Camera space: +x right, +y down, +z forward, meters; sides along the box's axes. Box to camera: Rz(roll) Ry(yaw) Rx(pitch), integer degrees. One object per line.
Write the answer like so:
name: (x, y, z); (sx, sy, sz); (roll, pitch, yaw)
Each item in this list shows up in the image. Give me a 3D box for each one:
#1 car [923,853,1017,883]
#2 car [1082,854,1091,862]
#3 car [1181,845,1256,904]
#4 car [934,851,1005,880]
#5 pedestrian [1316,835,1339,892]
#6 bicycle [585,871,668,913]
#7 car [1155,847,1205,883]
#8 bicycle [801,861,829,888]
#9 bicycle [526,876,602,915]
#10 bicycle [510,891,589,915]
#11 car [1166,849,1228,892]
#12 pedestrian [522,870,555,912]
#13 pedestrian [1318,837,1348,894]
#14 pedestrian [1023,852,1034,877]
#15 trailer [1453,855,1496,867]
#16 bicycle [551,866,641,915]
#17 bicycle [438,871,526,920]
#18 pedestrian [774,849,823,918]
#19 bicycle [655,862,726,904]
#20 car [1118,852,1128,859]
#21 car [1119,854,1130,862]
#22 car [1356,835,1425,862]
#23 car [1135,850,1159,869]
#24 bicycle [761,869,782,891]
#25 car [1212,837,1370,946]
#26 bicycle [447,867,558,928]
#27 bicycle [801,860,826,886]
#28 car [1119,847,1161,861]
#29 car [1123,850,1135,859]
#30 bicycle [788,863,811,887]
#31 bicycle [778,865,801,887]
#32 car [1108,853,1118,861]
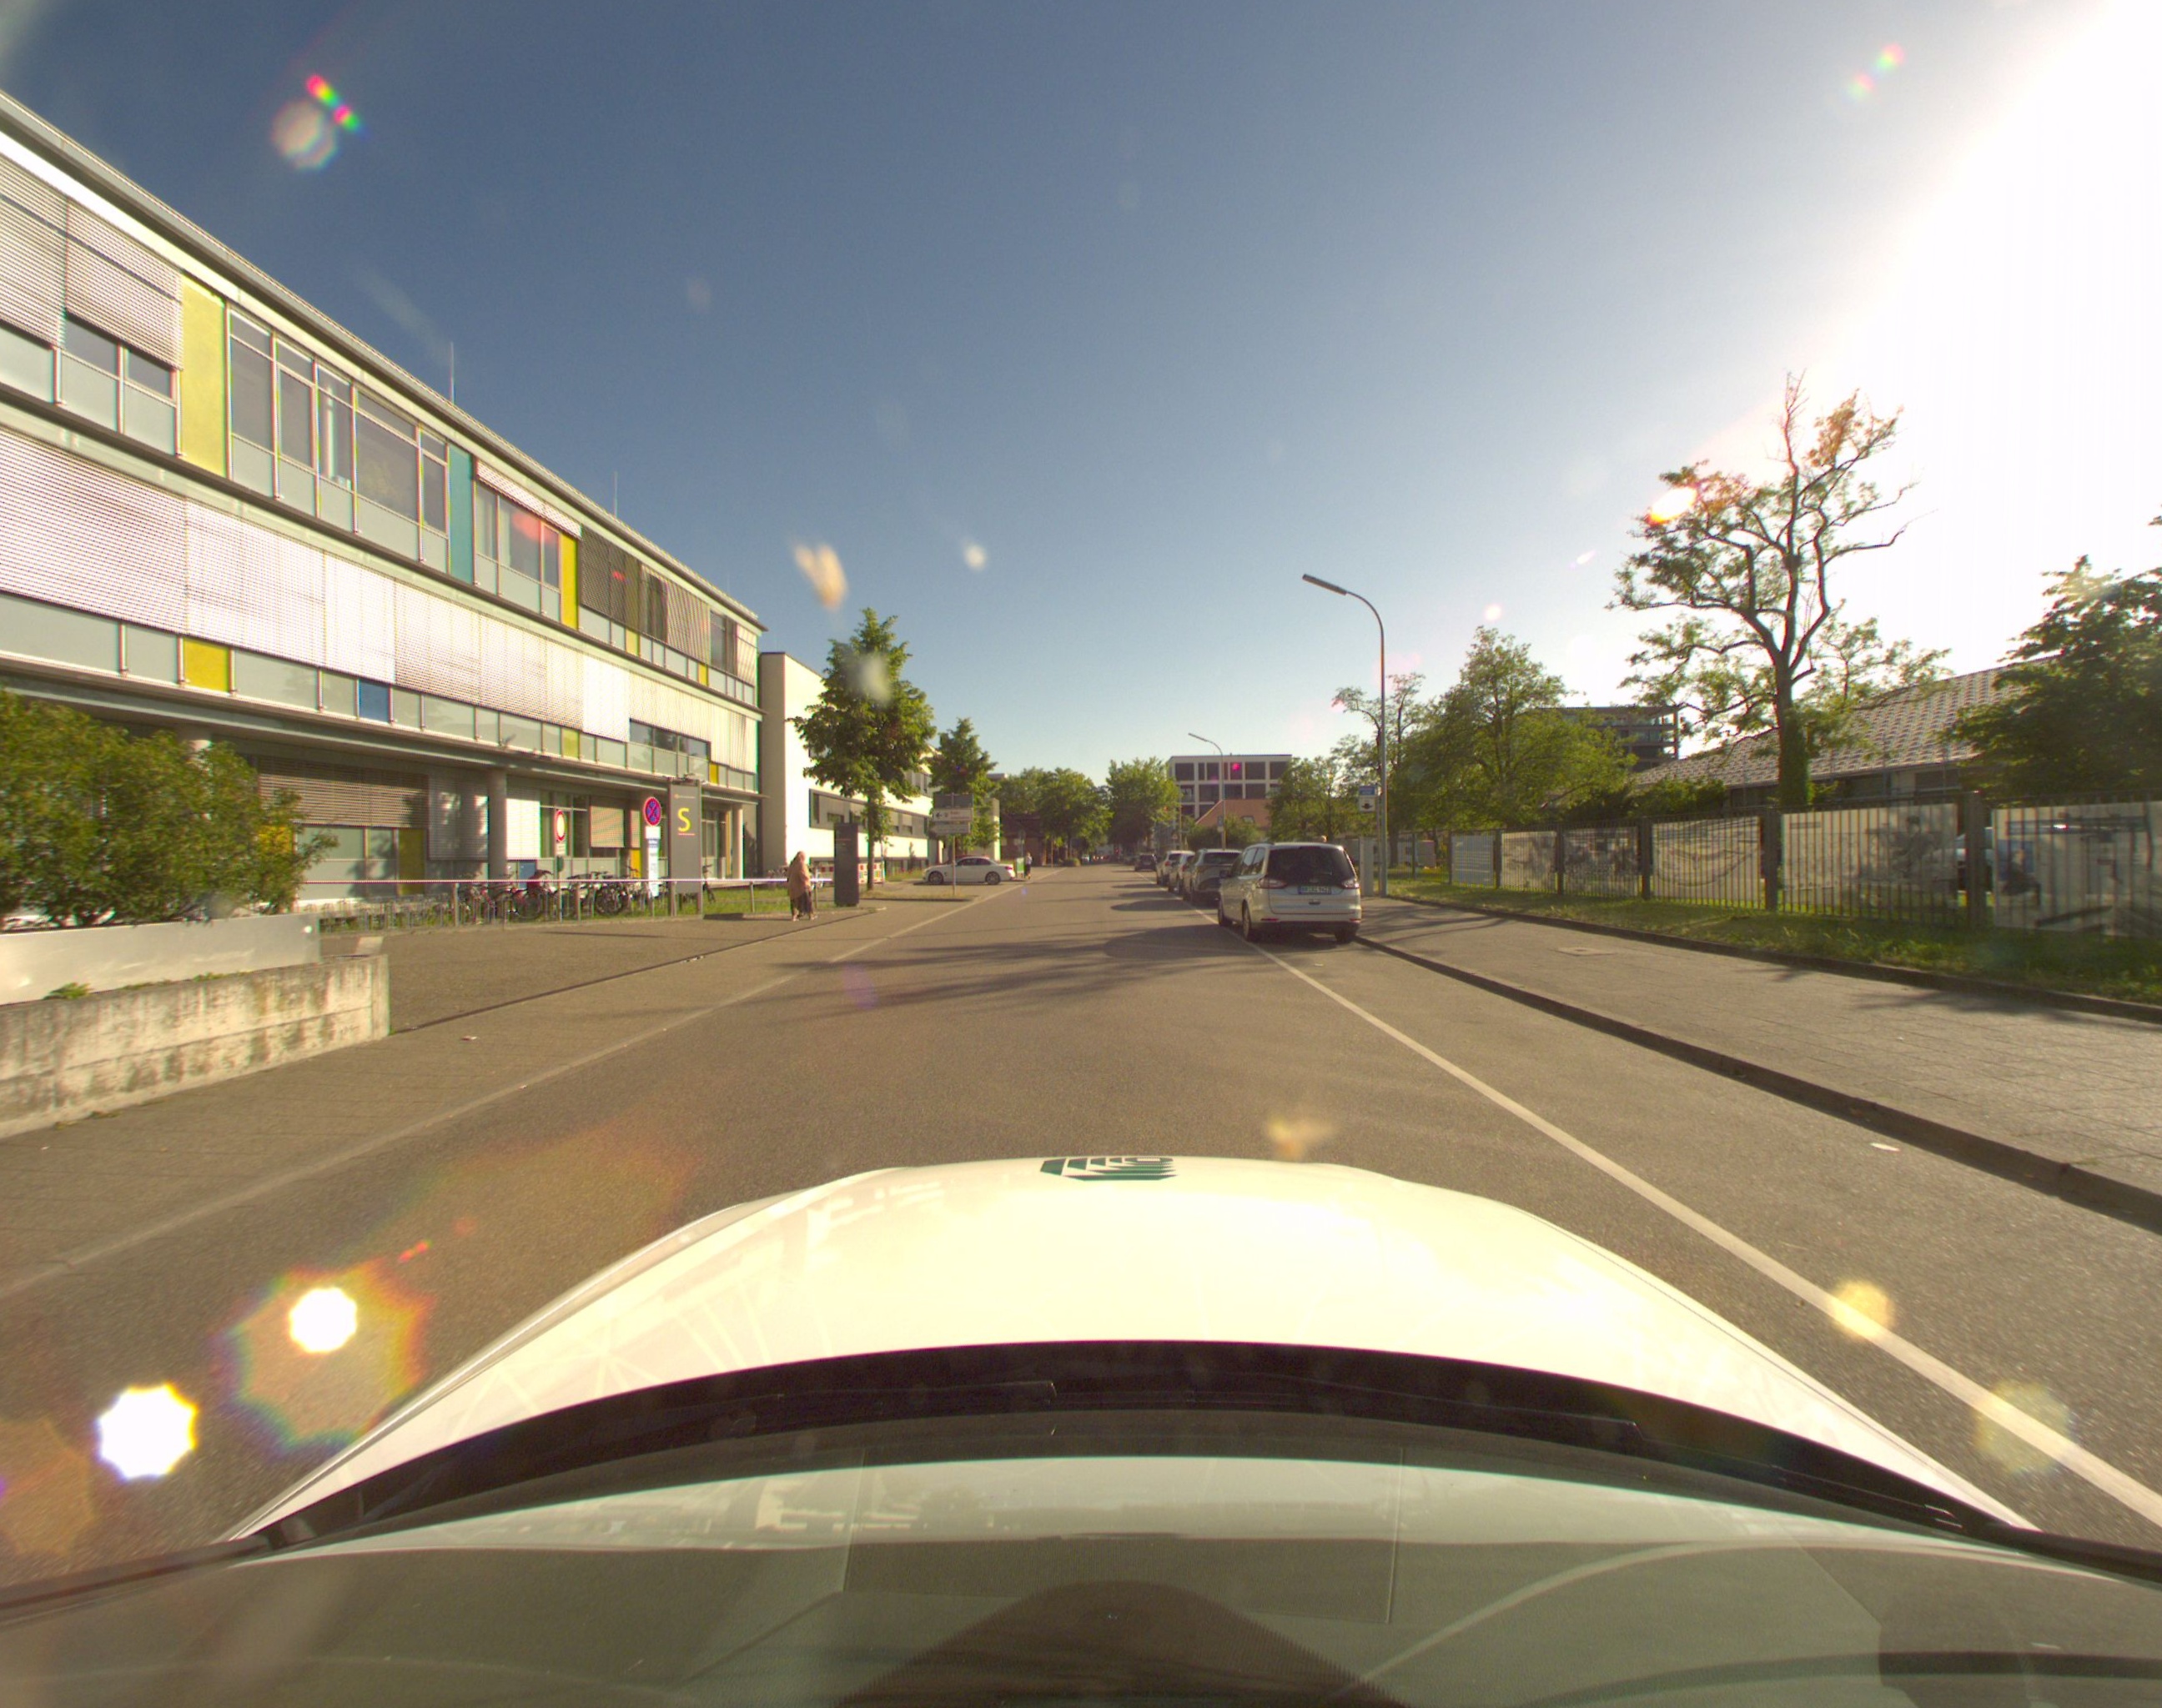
car: (-5.526, 0.674, 40.858); (4.502, 1.367, 1.698); (1, 0, -4)
car: (1.090, 0.836, 167.079); (1.761, 1.487, 4.000); (-1, 0, 0)
car: (4.050, 0.559, 24.583); (1.694, 1.606, 4.355); (1, 0, 2)
car: (-5.942, 0.619, 43.819); (3.626, 1.469, 1.612); (0, 1, -3)
pedestrian: (7.451, 0.281, 24.626); (0.519, 1.708, 0.522); (1, -1, -1)
bicycle: (-11.177, 0.924, 20.035); (1.709, 0.974, 0.536); (-1, 0, -1)
car: (4.575, 0.474, 38.156); (1.807, 1.588, 4.261); (1, 0, 0)
bicycle: (-11.456, 0.880, 35.152); (0.532, 1.111, 1.862); (-1, 0, 2)
bicycle: (-14.047, 1.122, 22.150); (1.709, 0.994, 0.536); (-1, 0, 0)
bicycle: (-14.038, 1.288, 21.540); (1.709, 0.551, 0.536); (-1, 0, 0)
car: (4.247, 0.563, 30.443); (1.695, 1.487, 3.979); (1, 0, -1)
pedestrian: (-15.277, 1.035, 22.947); (0.529, 1.173, 0.556); (-1, 0, 2)
pedestrian: (7.287, 0.333, 23.603); (0.679, 1.611, 0.540); (1, -1, -1)
pedestrian: (-3.272, 0.659, 50.761); (0.536, 1.524, 0.608); (-1, 0, 3)
trailer: (32.051, 0.566, 66.468); (1.886, 0.919, 5.123); (-1, 0, 10)
bicycle: (-11.105, 0.836, 18.680); (1.709, 1.055, 0.536); (-1, 0, -1)
bicycle: (-14.517, 1.004, 19.766); (1.709, 1.123, 0.536); (-1, 0, 0)
pedestrian: (-6.466, 0.667, 18.690); (0.769, 1.549, 0.781); (1, -1, 4)
bicycle: (-10.692, 0.792, 22.309); (1.694, 1.121, 0.537); (-1, 0, 6)
car: (8.899, 0.307, 171.901); (1.985, 1.465, 3.839); (-1, 0, 2)
car: (8.341, 0.738, 155.917); (1.942, 1.578, 3.839); (-1, 0, 2)
car: (26.737, -0.478, 70.530); (5.255, 2.202, 2.004); (-1, 1, 7)
car: (5.298, 0.438, 65.824); (1.810, 1.453, 4.217); (-1, 0, 3)
bicycle: (-13.389, 1.121, 35.244); (0.254, 0.873, 1.452); (-1, 0, 3)
car: (3.720, 0.583, 15.303); (1.803, 1.722, 4.705); (1, 0, 1)
bicycle: (-11.503, 0.851, 16.232); (1.714, 1.123, 0.535); (-1, 0, -8)
bicycle: (-11.973, 0.843, 36.507); (0.418, 1.123, 1.765); (-1, 0, 3)
car: (6.499, -0.027, 89.498); (4.555, 1.442, 1.749); (-1, 0, -34)
car: (7.482, 0.056, 126.942); (1.761, 1.440, 4.000); (-1, 0, 0)
bicycle: (-12.039, 0.879, 34.830); (0.393, 0.988, 1.452); (-1, 0, 3)
bicycle: (-12.495, 0.941, 34.922); (0.367, 0.863, 1.452); (-1, 0, 3)
car: (6.361, 0.537, 163.333); (1.761, 1.548, 4.066); (-1, 0, 0)
